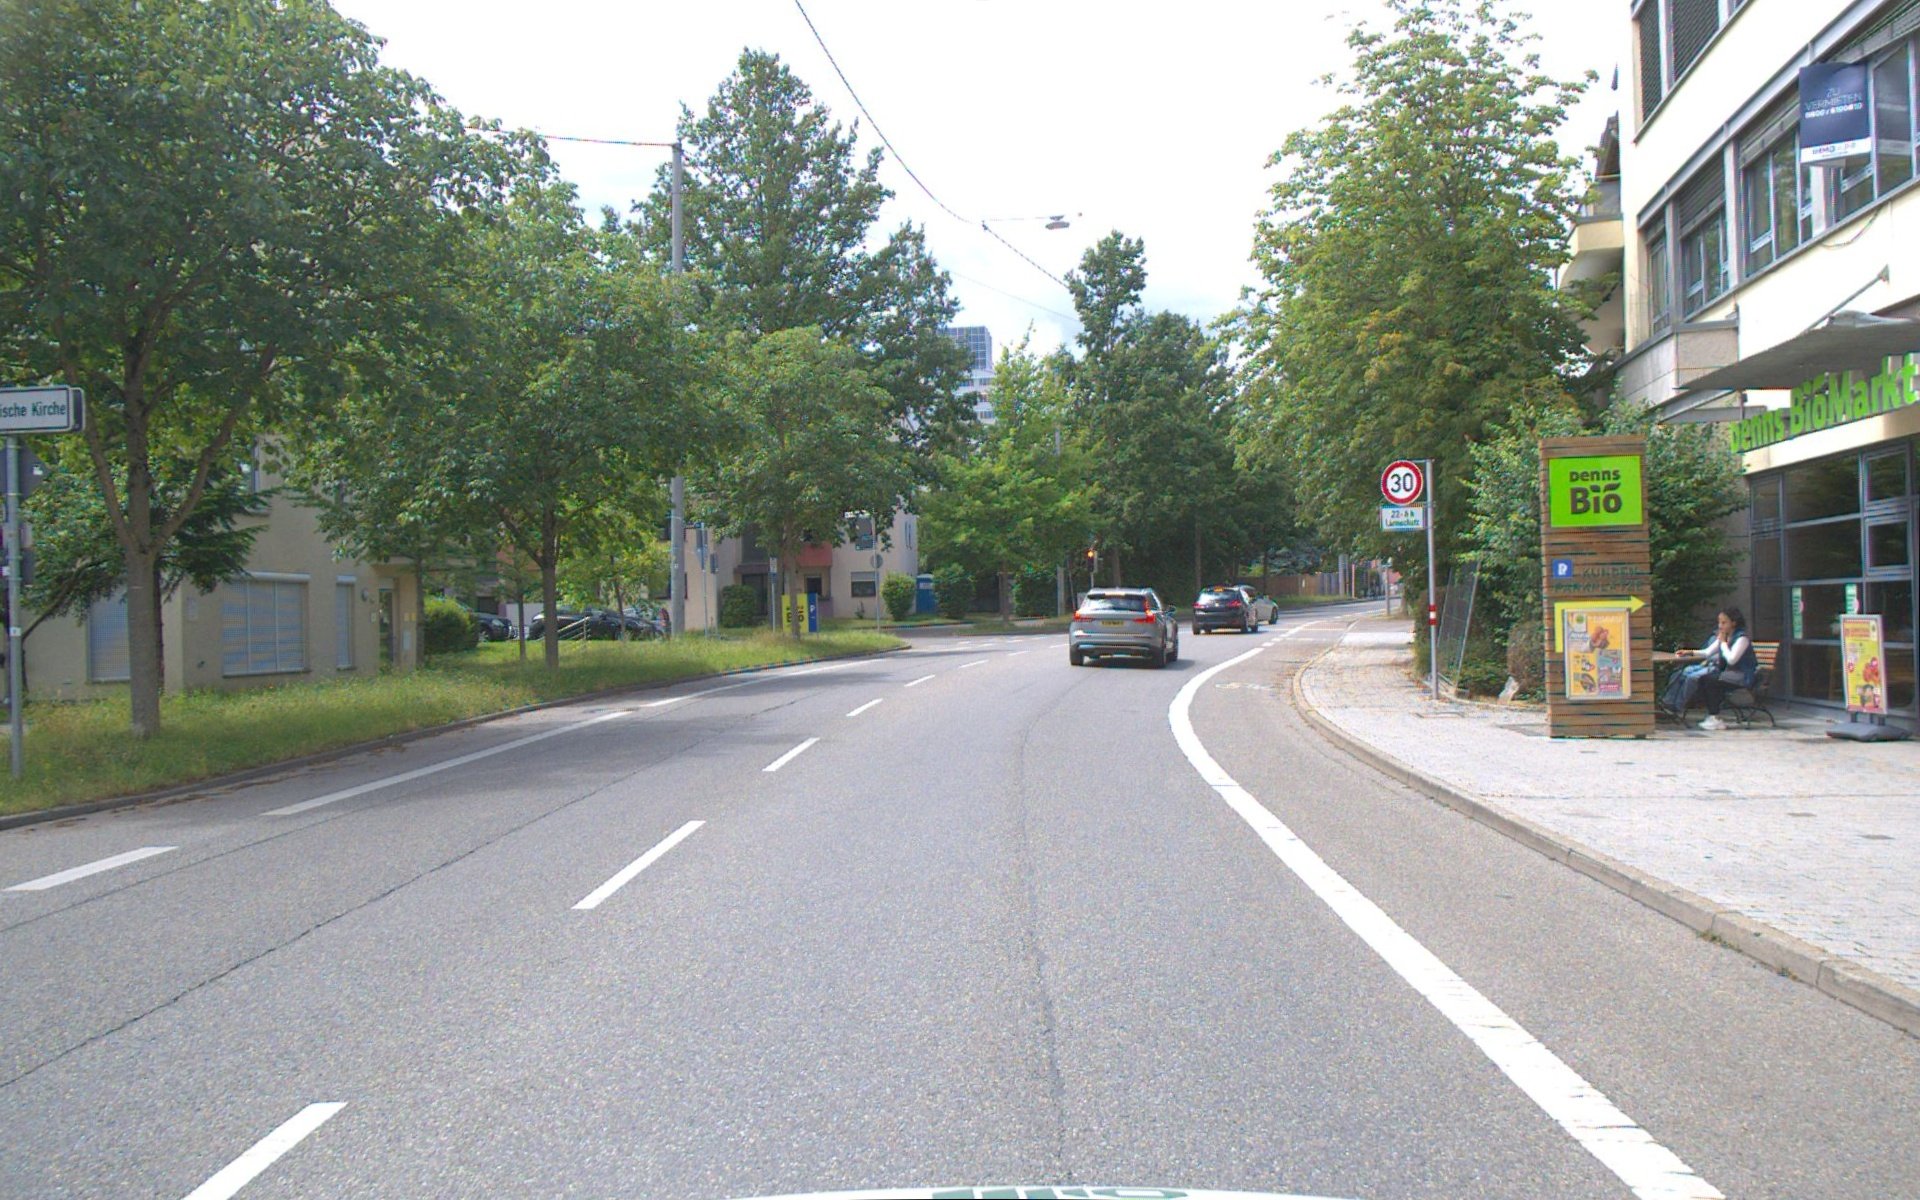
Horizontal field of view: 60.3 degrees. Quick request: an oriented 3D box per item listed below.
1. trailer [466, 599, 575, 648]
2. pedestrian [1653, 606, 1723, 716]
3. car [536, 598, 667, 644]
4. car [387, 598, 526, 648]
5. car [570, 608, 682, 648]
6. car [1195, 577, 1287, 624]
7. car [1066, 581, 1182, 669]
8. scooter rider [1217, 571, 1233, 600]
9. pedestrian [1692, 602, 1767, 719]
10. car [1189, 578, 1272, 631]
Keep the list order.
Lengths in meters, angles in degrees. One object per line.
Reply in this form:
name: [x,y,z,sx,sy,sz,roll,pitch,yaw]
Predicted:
trailer: [-17.293,0.946,65.179,3.826,1.830,1.630,0,-4,0]
pedestrian: [8.114,0.675,18.448,0.511,1.202,0.501,0,-1,-7]
car: [-12.104,0.734,56.005,3.992,1.424,1.795,-1,-4,3]
car: [-17.135,0.772,56.428,4.088,1.550,1.902,-2,0,3]
car: [-13.085,1.104,64.938,3.992,1.424,1.795,-1,-4,3]
car: [10.643,0.050,62.471,1.773,1.644,4.315,2,0,34]
car: [3.336,0.434,32.900,1.914,1.549,4.333,2,1,10]
scooter rider: [15.870,-0.869,99.153,0.695,1.758,0.675,0,-1,-23]
pedestrian: [8.192,0.634,17.629,0.564,1.225,0.503,-1,-1,4]
car: [8.609,0.121,52.356,1.767,1.549,4.330,2,1,20]
